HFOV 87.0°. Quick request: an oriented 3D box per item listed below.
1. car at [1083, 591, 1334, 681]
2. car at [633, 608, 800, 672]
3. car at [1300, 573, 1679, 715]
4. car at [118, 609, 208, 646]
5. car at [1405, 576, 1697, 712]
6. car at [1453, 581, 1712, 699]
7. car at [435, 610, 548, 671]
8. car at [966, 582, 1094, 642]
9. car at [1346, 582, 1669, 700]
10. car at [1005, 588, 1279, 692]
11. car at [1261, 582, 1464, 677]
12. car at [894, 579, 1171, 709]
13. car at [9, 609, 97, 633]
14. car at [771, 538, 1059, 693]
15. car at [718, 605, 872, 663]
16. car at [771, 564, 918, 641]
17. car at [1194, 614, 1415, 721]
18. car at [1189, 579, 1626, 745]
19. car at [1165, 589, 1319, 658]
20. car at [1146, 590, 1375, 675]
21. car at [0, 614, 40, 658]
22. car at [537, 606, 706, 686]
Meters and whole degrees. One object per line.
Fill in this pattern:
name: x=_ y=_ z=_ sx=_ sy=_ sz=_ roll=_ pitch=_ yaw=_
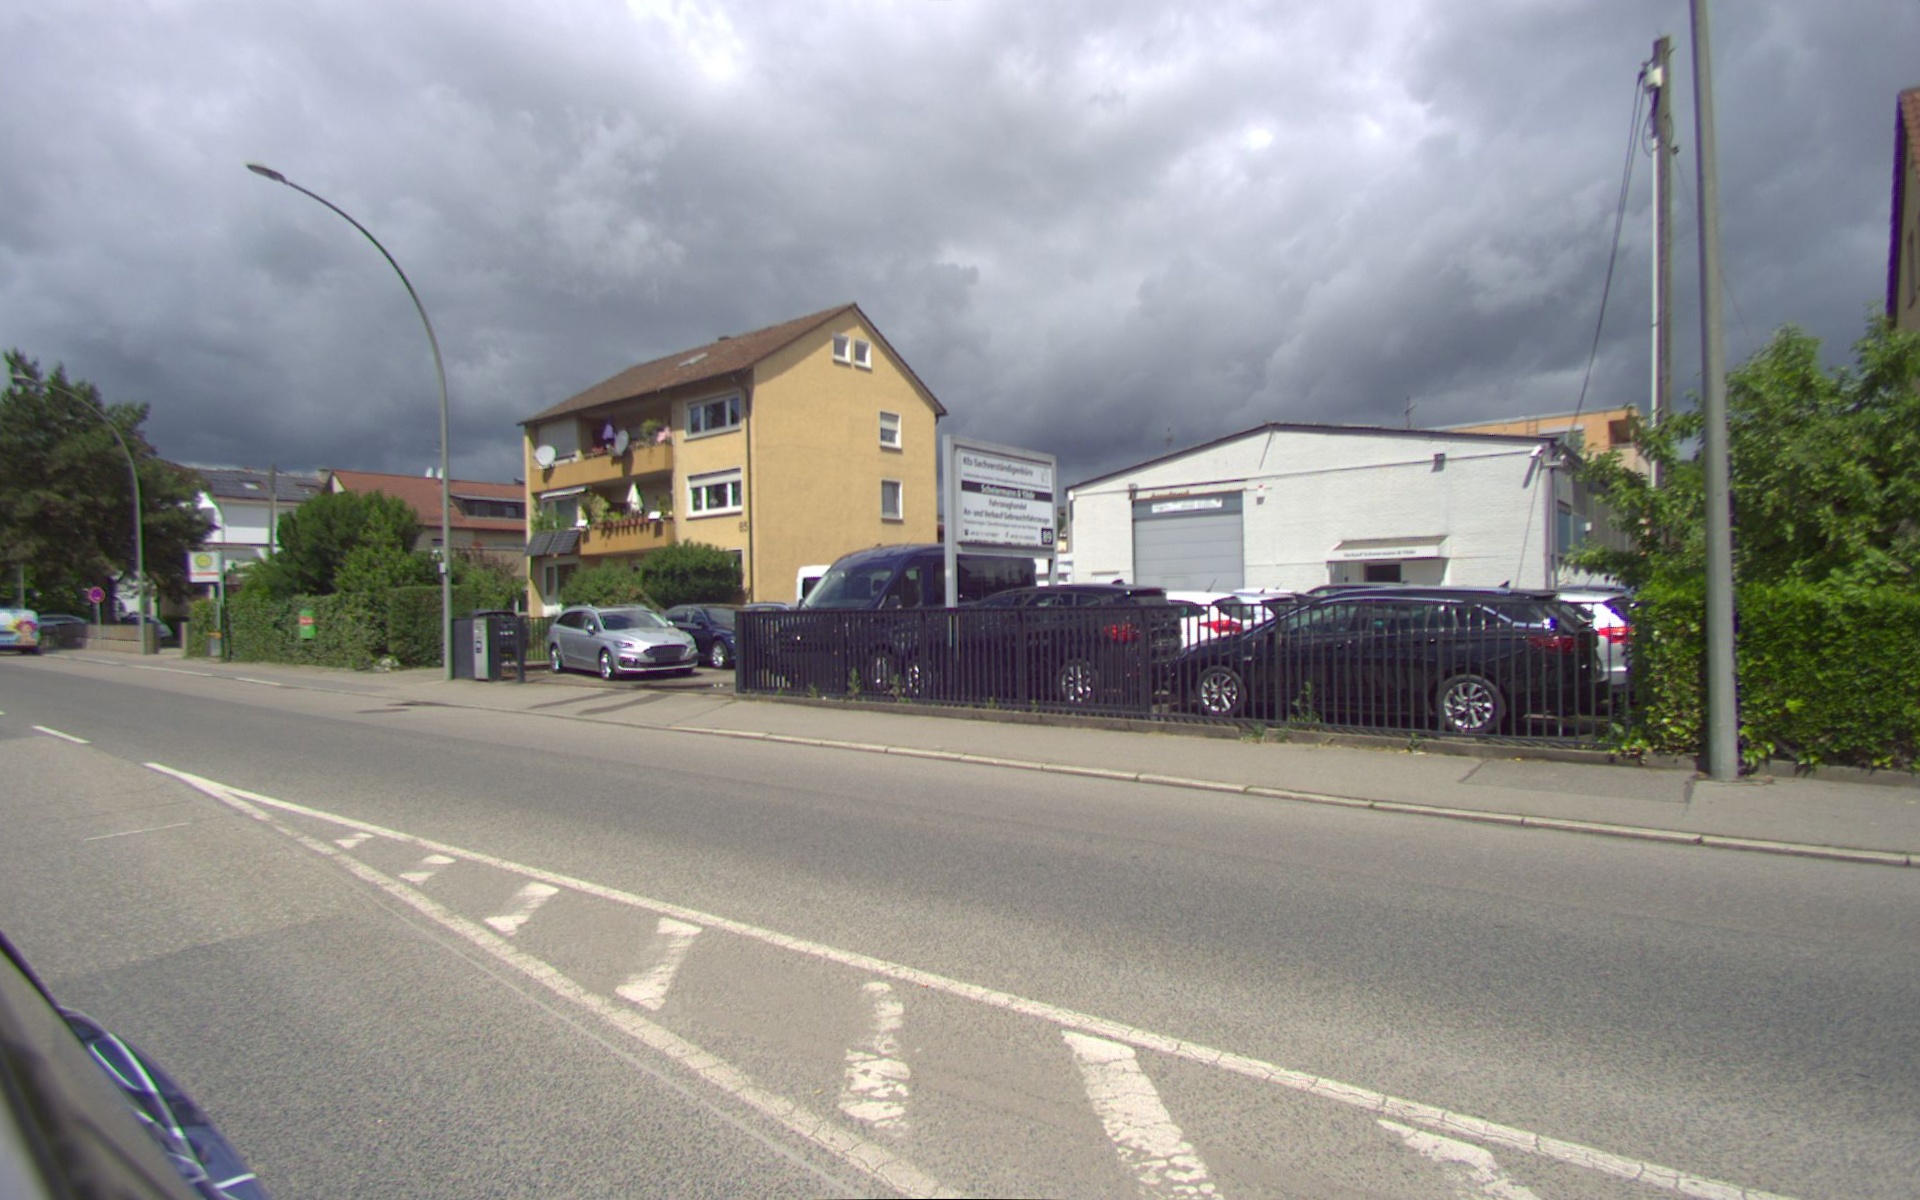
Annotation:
car: x=4.336 y=0.585 z=17.996 sx=3.998 sy=1.423 sz=1.716 roll=-1 pitch=0 yaw=41
car: x=-5.804 y=0.899 z=23.898 sx=3.998 sy=1.352 sz=1.861 roll=-1 pitch=0 yaw=41
car: x=6.727 y=0.489 z=13.066 sx=3.998 sy=1.552 sz=1.973 roll=-1 pitch=0 yaw=41
car: x=-46.382 y=1.592 z=58.944 sx=3.954 sy=2.029 sz=1.995 roll=-1 pitch=0 yaw=9
car: x=9.994 y=0.672 z=17.243 sx=3.998 sy=2.029 sz=1.973 roll=-1 pitch=0 yaw=41
car: x=11.949 y=0.704 z=19.545 sx=3.998 sy=2.029 sz=1.973 roll=-1 pitch=0 yaw=41
car: x=-14.095 y=1.168 z=30.383 sx=3.520 sy=1.678 sz=1.807 roll=-1 pitch=0 yaw=41
car: x=2.353 y=0.389 z=34.631 sx=3.998 sy=1.941 sz=1.973 roll=-1 pitch=0 yaw=41
car: x=8.268 y=0.547 z=15.451 sx=3.998 sy=1.560 sz=1.973 roll=-1 pitch=0 yaw=41
car: x=2.852 y=0.581 z=16.321 sx=3.998 sy=1.470 sz=1.795 roll=-1 pitch=0 yaw=41
car: x=9.369 y=0.644 z=23.705 sx=3.998 sy=2.029 sz=1.973 roll=-1 pitch=0 yaw=41
car: x=0.971 y=0.559 z=14.516 sx=3.619 sy=1.633 sz=1.790 roll=-1 pitch=0 yaw=41
car: x=-68.450 y=1.551 z=76.420 sx=2.216 sy=1.691 sz=4.676 roll=-1 pitch=0 yaw=39
car: x=-0.638 y=0.224 z=18.383 sx=2.104 sy=2.402 sz=5.293 roll=-1 pitch=0 yaw=42
car: x=-4.337 y=0.837 z=26.295 sx=3.998 sy=1.383 sz=1.859 roll=-1 pitch=0 yaw=41
car: x=-3.312 y=0.084 z=28.727 sx=3.998 sy=2.029 sz=1.973 roll=-1 pitch=0 yaw=41
car: x=7.280 y=1.337 z=21.567 sx=3.998 sy=2.029 sz=1.973 roll=-1 pitch=0 yaw=41
car: x=4.792 y=0.574 z=11.131 sx=4.040 sy=1.494 sz=1.840 roll=-1 pitch=0 yaw=40
car: x=8.439 y=0.662 z=30.430 sx=3.998 sy=1.941 sz=1.973 roll=-1 pitch=0 yaw=41
car: x=5.861 y=0.590 z=19.990 sx=3.998 sy=1.498 sz=1.742 roll=-1 pitch=0 yaw=41
car: x=-39.251 y=1.448 z=41.462 sx=3.995 sy=1.693 sz=1.708 roll=-1 pitch=0 yaw=39
car: x=-7.293 y=0.902 z=21.577 sx=1.861 sy=1.470 sz=4.356 roll=-2 pitch=1 yaw=-41
